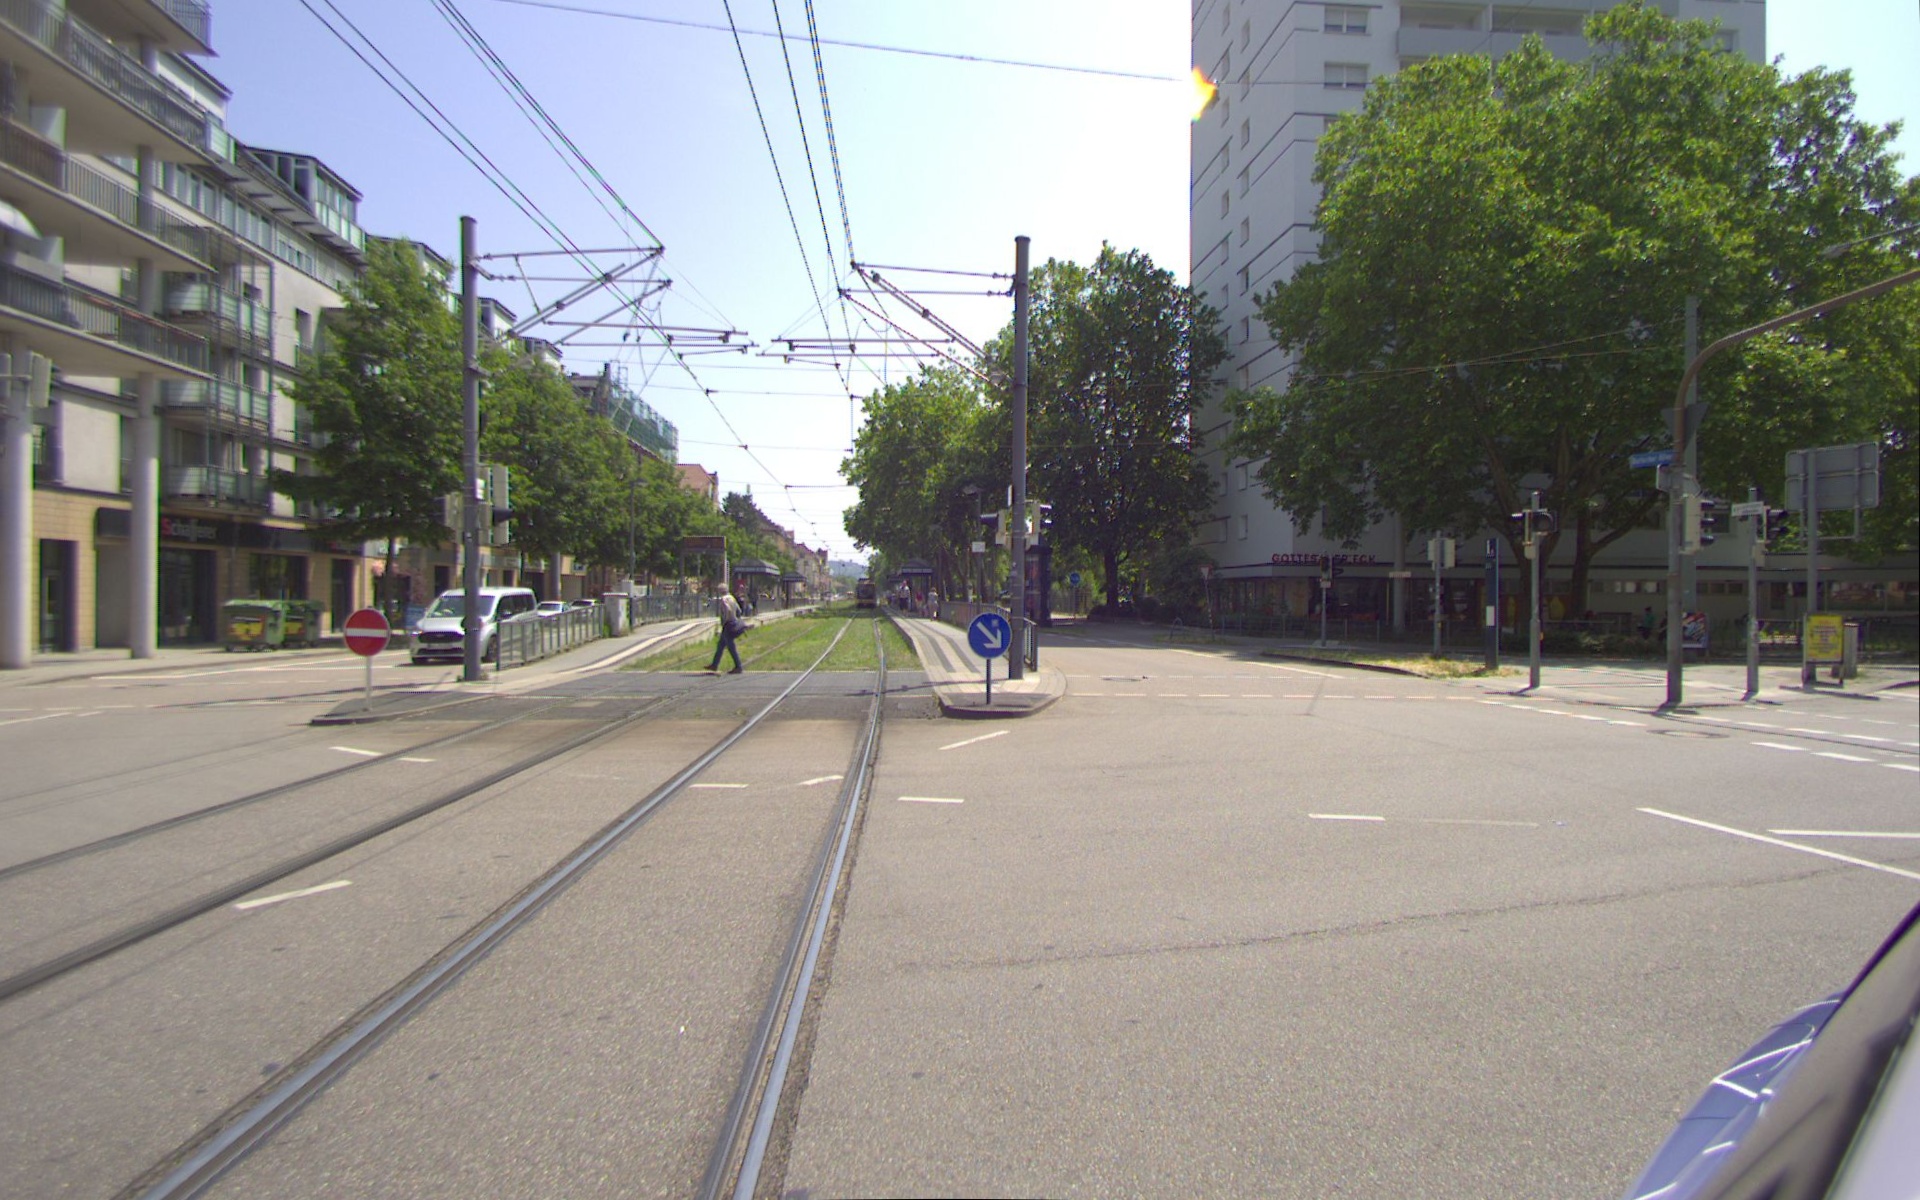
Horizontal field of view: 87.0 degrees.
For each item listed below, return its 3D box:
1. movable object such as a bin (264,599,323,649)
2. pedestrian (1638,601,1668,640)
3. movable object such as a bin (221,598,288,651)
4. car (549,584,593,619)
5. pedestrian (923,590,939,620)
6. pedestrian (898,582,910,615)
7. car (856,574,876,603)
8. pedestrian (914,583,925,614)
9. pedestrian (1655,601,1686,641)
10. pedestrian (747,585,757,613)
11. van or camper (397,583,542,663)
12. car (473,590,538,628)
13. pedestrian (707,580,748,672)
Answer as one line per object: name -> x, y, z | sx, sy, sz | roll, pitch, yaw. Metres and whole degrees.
movable object such as a bin -> -20.192, 0.716, 30.681 | 1.190, 1.454, 1.010 | 0, 0, -11
pedestrian -> 24.750, 0.712, 36.162 | 0.626, 1.382, 0.595 | 0, 0, -10
movable object such as a bin -> -19.911, 0.678, 28.574 | 1.191, 1.454, 1.009 | 0, 0, -2
car -> -23.890, 0.067, 62.236 | 1.958, 2.039, 4.008 | 0, 1, -13
pedestrian -> -1.343, 0.241, 47.048 | 0.666, 1.366, 0.632 | 0, 0, -6
pedestrian -> -2.796, -0.077, 50.757 | 0.542, 1.626, 0.681 | 0, 0, -6
car -> -11.265, -1.351, 121.803 | 2.231, 3.381, 12.045 | 0, 0, -5
pedestrian -> -2.091, -0.095, 52.253 | 0.536, 1.600, 0.515 | 0, 0, -6
pedestrian -> 24.842, 0.721, 35.389 | 0.626, 1.382, 0.595 | 0, 0, -10
pedestrian -> -12.036, -0.044, 58.612 | 0.539, 1.626, 0.554 | 0, 0, -6
van or camper -> -11.924, 0.489, 24.940 | 1.732, 1.780, 4.599 | -1, 1, -6
car -> -22.564, 0.389, 50.398 | 1.959, 1.794, 4.006 | 0, 1, -8
pedestrian -> -4.415, 0.483, 19.225 | 0.667, 1.727, 0.554 | 0, 0, -2
